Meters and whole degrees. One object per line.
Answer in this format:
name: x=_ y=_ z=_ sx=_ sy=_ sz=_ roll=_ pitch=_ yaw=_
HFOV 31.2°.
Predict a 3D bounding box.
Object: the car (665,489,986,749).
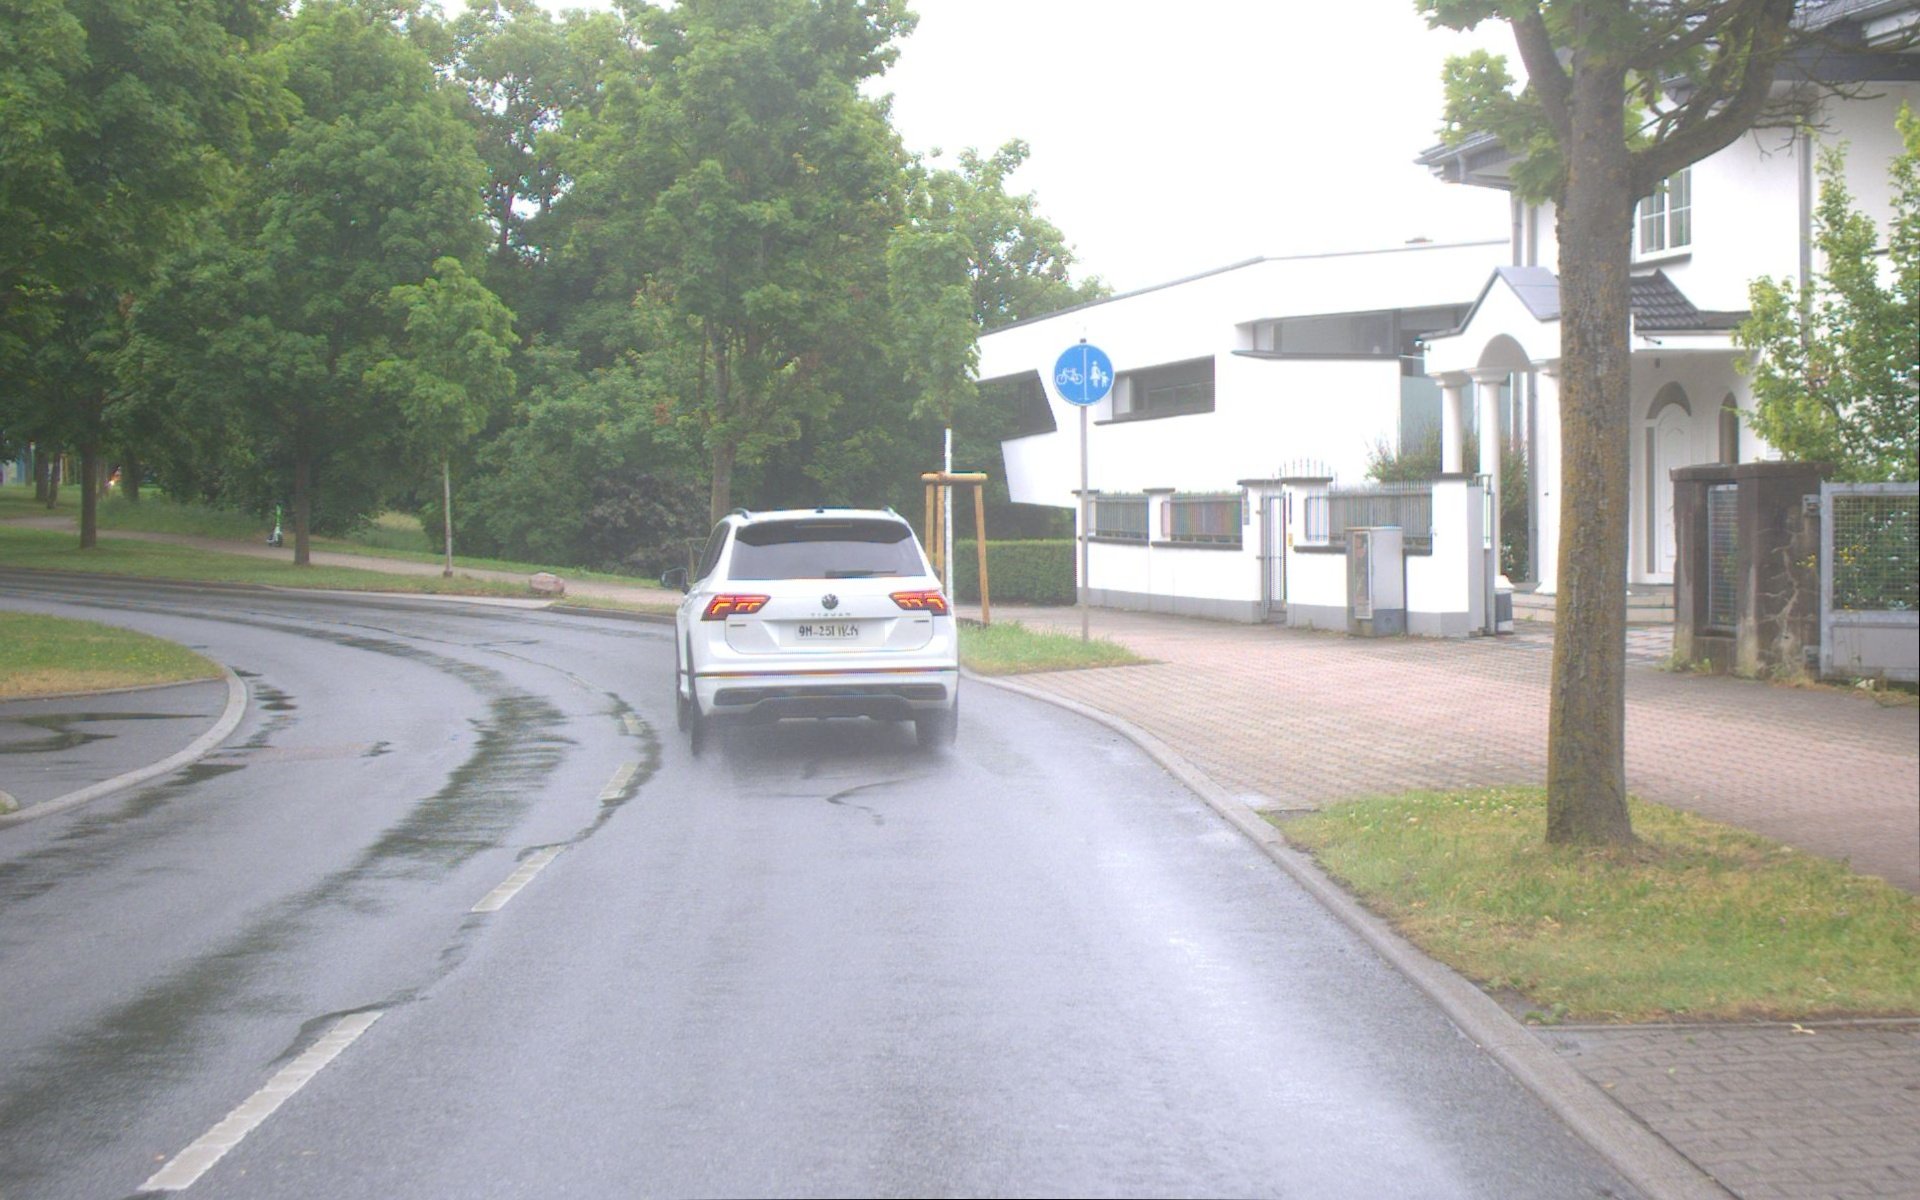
car: x=-1.049 y=0.077 z=24.428 sx=1.974 sy=1.647 sz=4.178 roll=-1 pitch=1 yaw=-6
